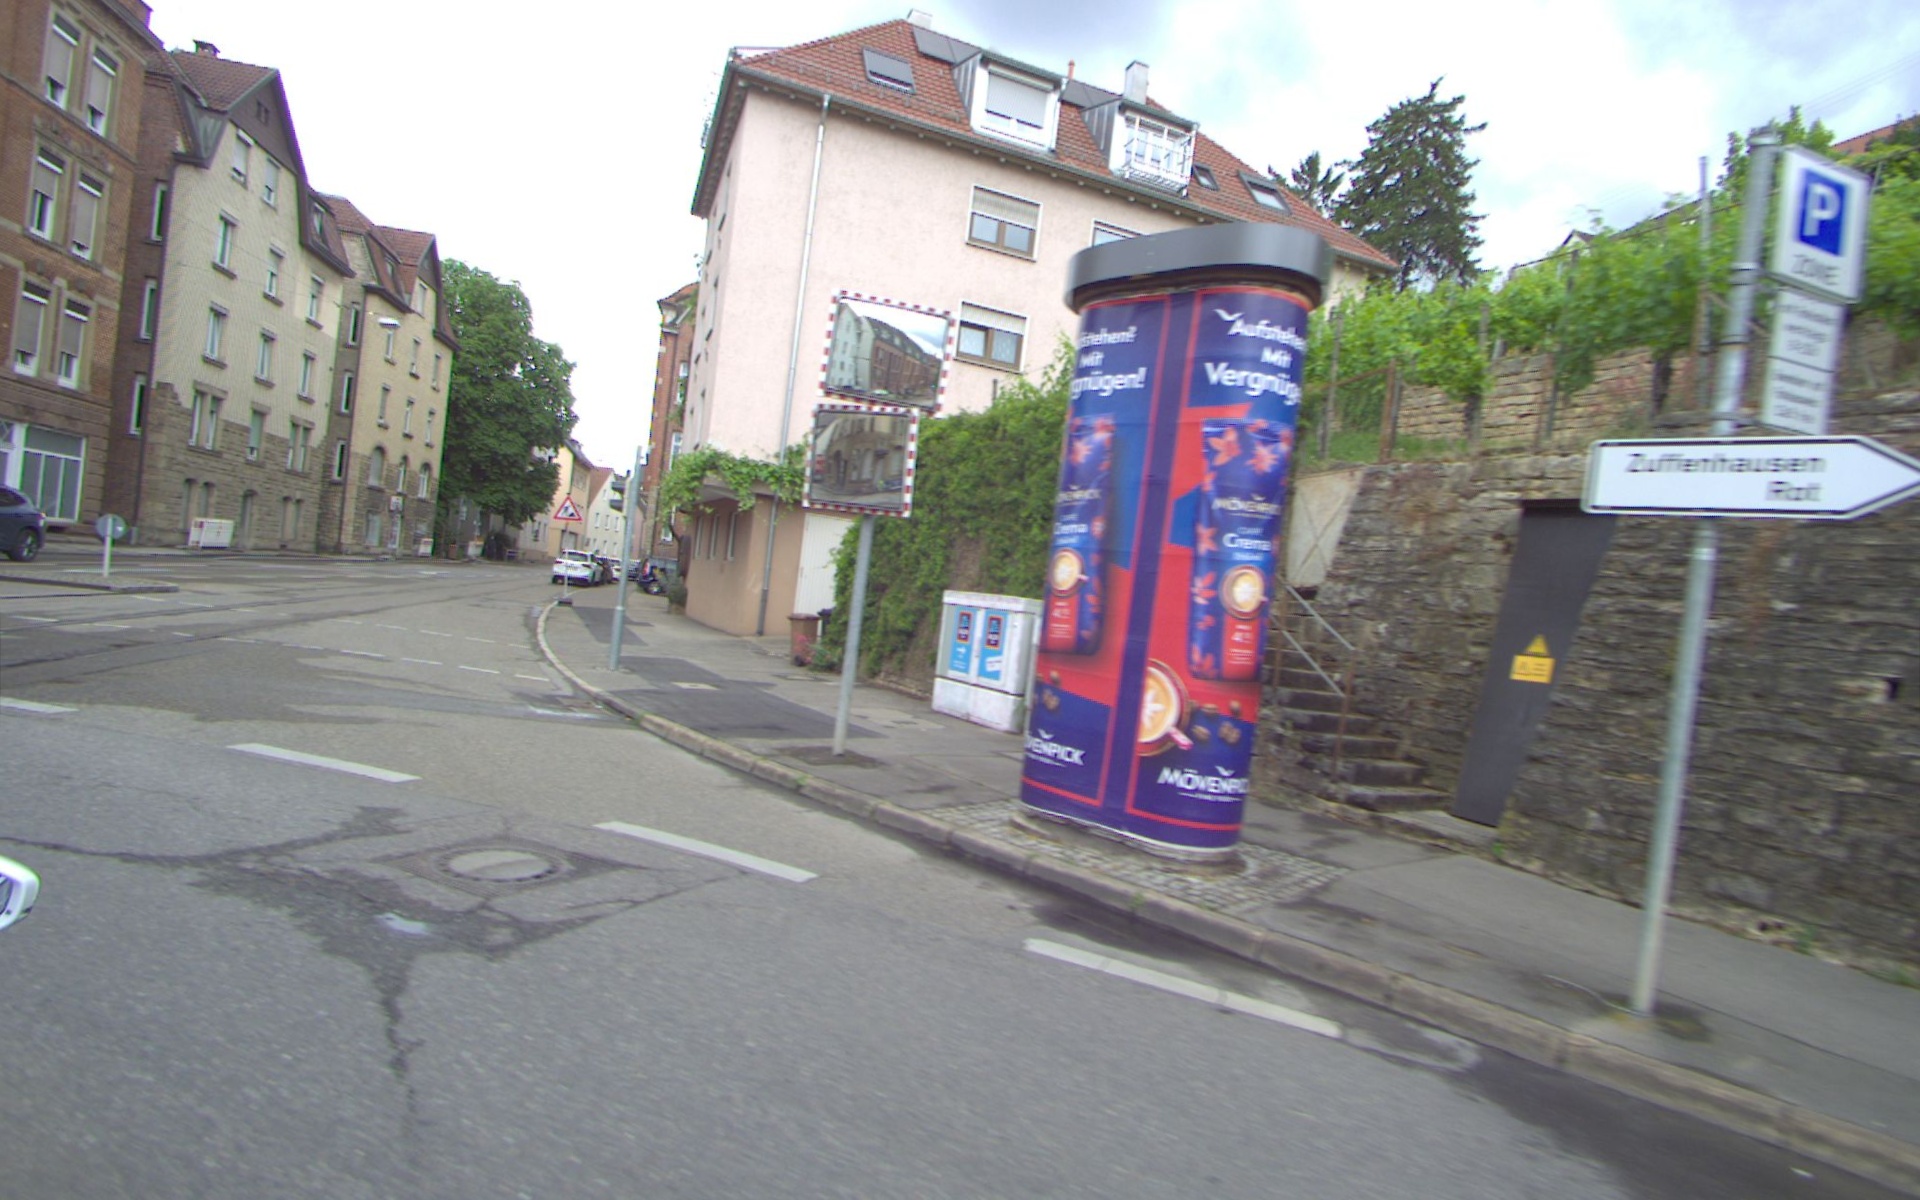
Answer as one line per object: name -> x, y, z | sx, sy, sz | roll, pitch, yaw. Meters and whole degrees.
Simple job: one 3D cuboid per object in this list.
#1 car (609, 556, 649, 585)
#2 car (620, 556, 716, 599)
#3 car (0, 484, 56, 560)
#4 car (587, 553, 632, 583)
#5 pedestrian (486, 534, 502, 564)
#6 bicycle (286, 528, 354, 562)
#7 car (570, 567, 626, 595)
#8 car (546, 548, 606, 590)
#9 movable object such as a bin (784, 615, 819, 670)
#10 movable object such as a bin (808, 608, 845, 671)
car -> -22.855, -2.013, 69.618 | 1.937, 1.684, 3.811 | 8, 0, -10
car -> -13.159, -1.023, 45.307 | 3.869, 1.572, 1.861 | 5, 0, -24
car -> -20.457, -1.655, 19.867 | 1.966, 1.535, 4.273 | 4, 1, -12
car -> -20.277, -1.837, 58.287 | 1.785, 1.481, 3.992 | 5, 0, -11
pedestrian -> -32.903, -3.598, 70.997 | 0.754, 2.039, 0.751 | 5, 1, -14
bicycle -> -30.167, -2.587, 47.451 | 2.556, 1.323, 0.632 | 4, 2, -14
car -> -18.978, -0.998, 52.918 | 1.965, 1.305, 3.993 | 4, 0, -8
car -> -18.165, -1.452, 47.764 | 1.923, 1.740, 3.991 | 4, 0, -12
movable object such as a bin -> -2.839, 0.753, 18.008 | 0.342, 0.922, 0.490 | 7, -2, -36
movable object such as a bin -> -2.431, 0.717, 18.296 | 0.404, 1.095, 0.468 | 6, -1, -36
